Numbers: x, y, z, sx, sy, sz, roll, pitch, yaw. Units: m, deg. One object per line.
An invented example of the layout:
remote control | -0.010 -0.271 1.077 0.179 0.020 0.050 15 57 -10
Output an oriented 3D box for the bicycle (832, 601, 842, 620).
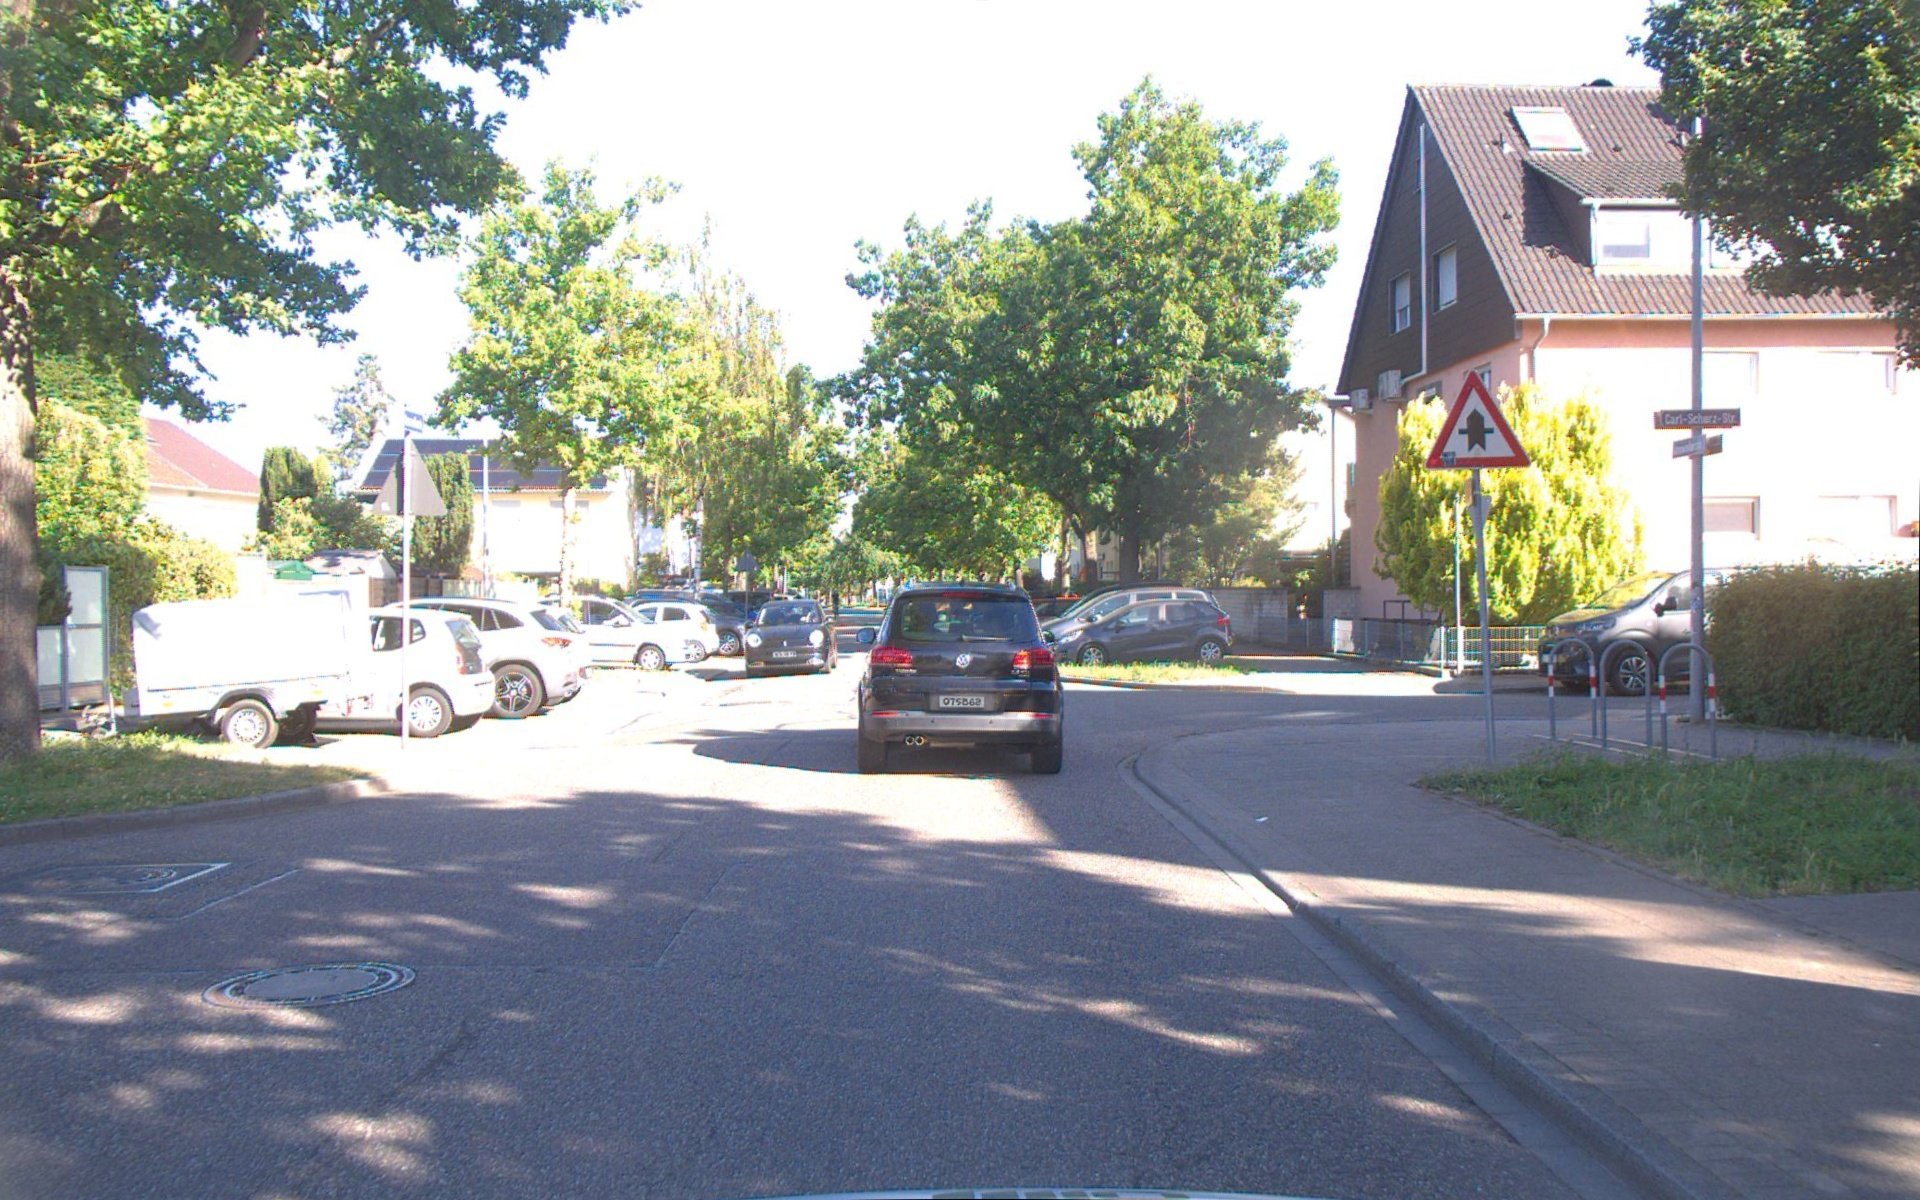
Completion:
bicycle | -8.170 0.700 109.923 0.625 1.183 1.738 -1 -2 -6

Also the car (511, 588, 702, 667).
car | -7.947 0.605 37.510 3.906 1.699 2.000 0 0 -1

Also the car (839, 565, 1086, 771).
car | -0.135 0.556 15.957 1.892 1.683 4.508 1 0 -6

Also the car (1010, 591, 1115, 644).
car | 3.115 0.520 50.289 2.987 1.534 1.244 -1 0 -8

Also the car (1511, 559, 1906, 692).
car | 11.345 0.391 25.283 5.138 1.880 2.069 -1 -1 -5

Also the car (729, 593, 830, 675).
car | -3.797 0.671 35.322 1.871 1.582 3.997 -2 0 -3

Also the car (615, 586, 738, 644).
car | -9.391 0.490 55.015 3.910 1.868 1.635 -1 0 -7

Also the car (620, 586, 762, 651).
car | -7.693 0.517 47.625 3.910 1.762 1.997 -1 0 -6

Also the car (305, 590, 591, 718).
car | -6.936 0.704 22.741 3.483 1.641 1.849 -1 0 -8

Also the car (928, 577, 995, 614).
car | 0.094 -0.260 98.330 3.906 2.049 1.999 -1 -2 -2

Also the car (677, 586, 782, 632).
car | -8.966 0.378 64.674 3.907 1.750 1.819 0 -1 -3

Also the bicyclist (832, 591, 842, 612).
bicyclist | -8.173 0.070 109.966 0.687 1.370 0.506 0 -2 -7

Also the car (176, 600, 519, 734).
car | -7.323 0.772 20.045 3.478 1.503 1.807 -1 0 -2

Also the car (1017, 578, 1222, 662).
car | 3.659 0.455 38.530 4.540 1.841 1.823 -1 0 -3

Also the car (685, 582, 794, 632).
car | -8.919 0.303 67.150 4.306 1.973 1.576 0 -1 -7

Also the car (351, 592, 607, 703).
car | -7.277 0.701 25.342 3.481 1.585 1.850 -1 0 -7

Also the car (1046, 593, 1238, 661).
car | 3.919 0.569 36.041 3.907 1.392 1.846 -1 0 -3

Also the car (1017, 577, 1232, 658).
car | 4.076 0.423 41.588 5.154 1.979 1.999 0 0 -3

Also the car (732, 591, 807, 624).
car | -10.382 0.387 90.083 3.914 1.713 1.918 -1 0 -10

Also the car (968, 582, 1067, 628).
car | 2.295 0.192 66.944 3.906 1.806 1.789 0 0 -2

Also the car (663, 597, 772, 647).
car | -7.615 0.674 52.223 3.306 1.516 1.641 -1 0 -6

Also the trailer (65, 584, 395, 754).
trailer | -7.714 0.698 17.667 2.910 1.685 1.394 -1 0 -6

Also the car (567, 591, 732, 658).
car | -7.998 0.610 42.850 3.906 1.668 2.000 0 0 -1
